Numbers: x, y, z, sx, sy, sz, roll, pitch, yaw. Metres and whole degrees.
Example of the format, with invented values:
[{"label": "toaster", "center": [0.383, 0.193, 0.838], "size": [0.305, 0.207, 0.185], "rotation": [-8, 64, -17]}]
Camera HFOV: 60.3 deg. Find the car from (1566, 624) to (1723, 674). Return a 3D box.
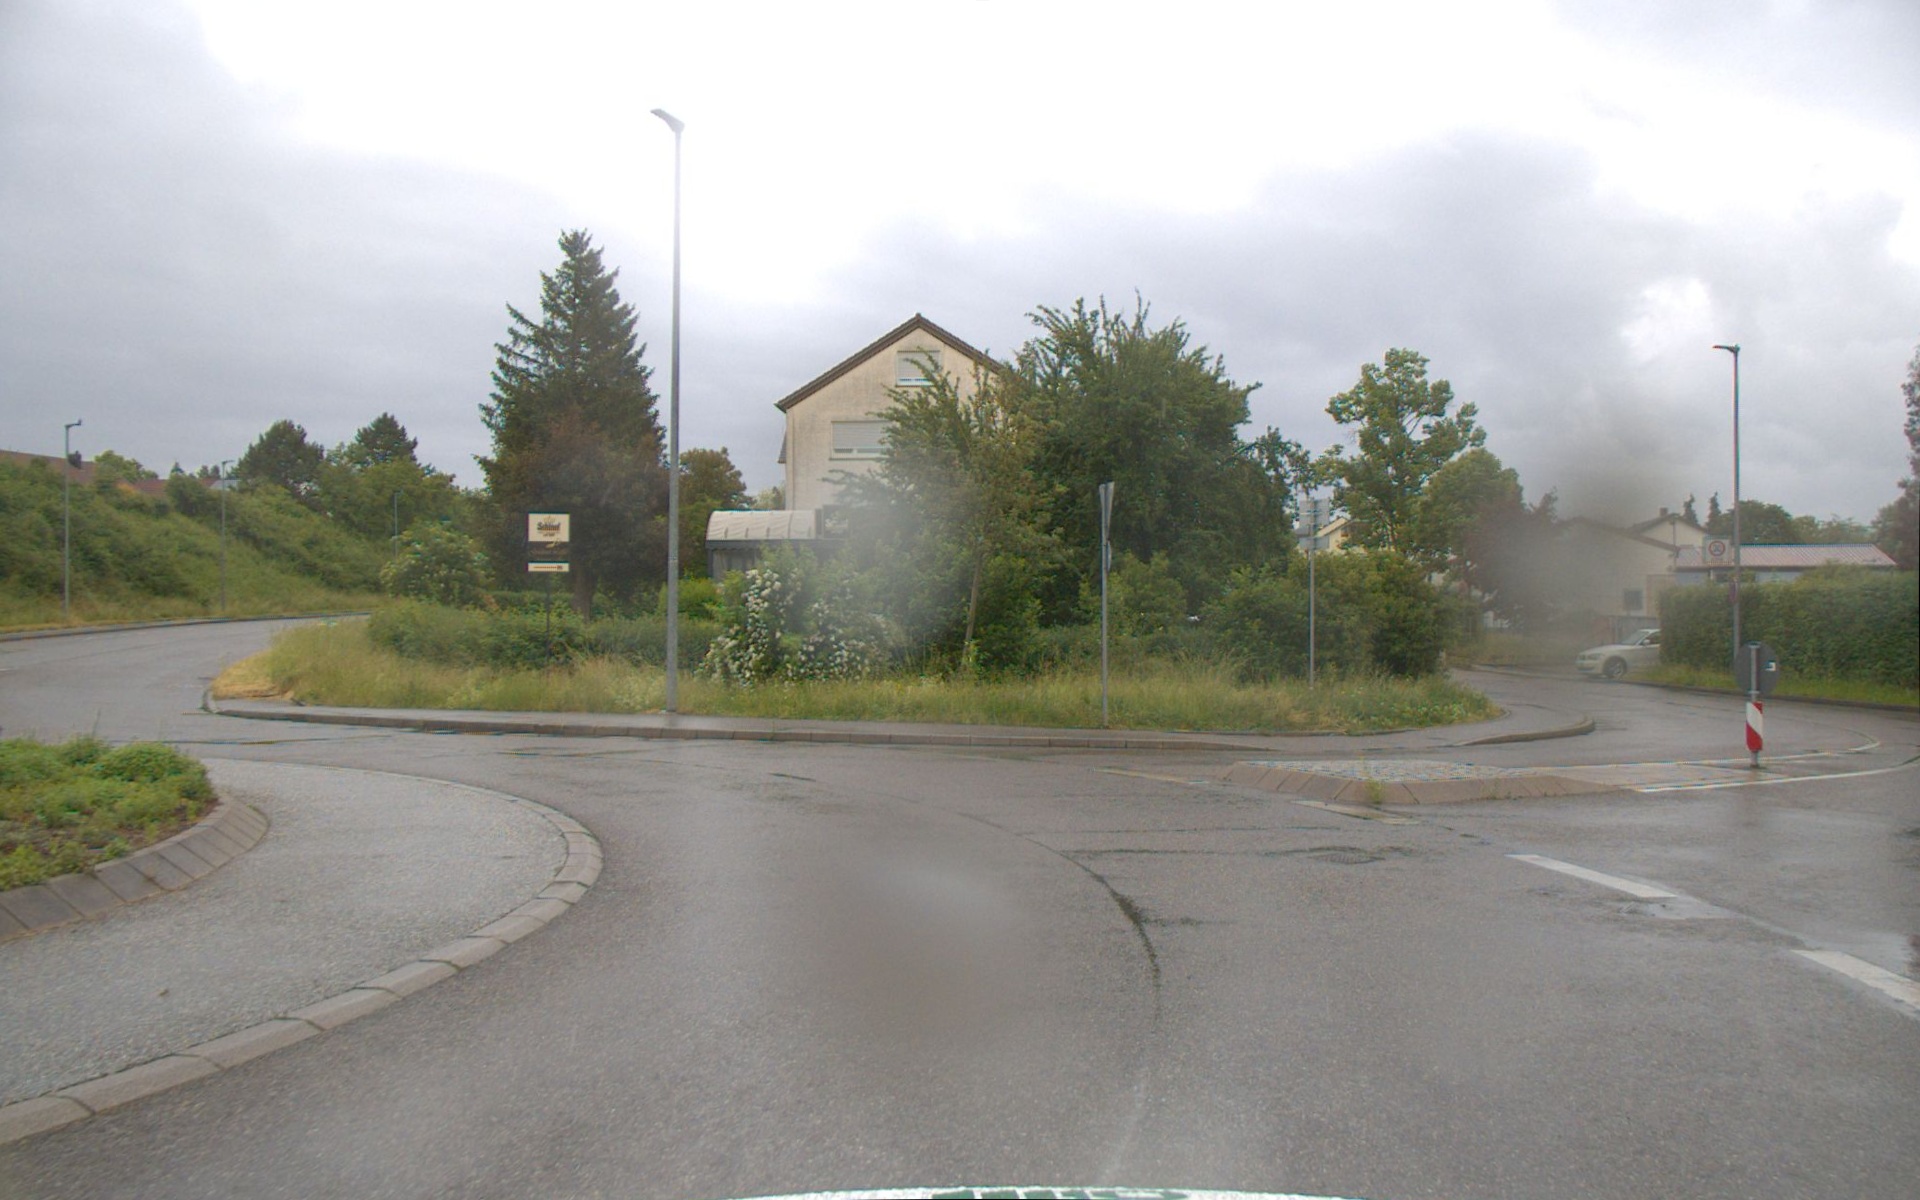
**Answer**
[{"label": "car", "center": [20.071, 1.436, 48.625], "size": [3.903, 1.398, 1.785], "rotation": [1, -1, 3]}]
